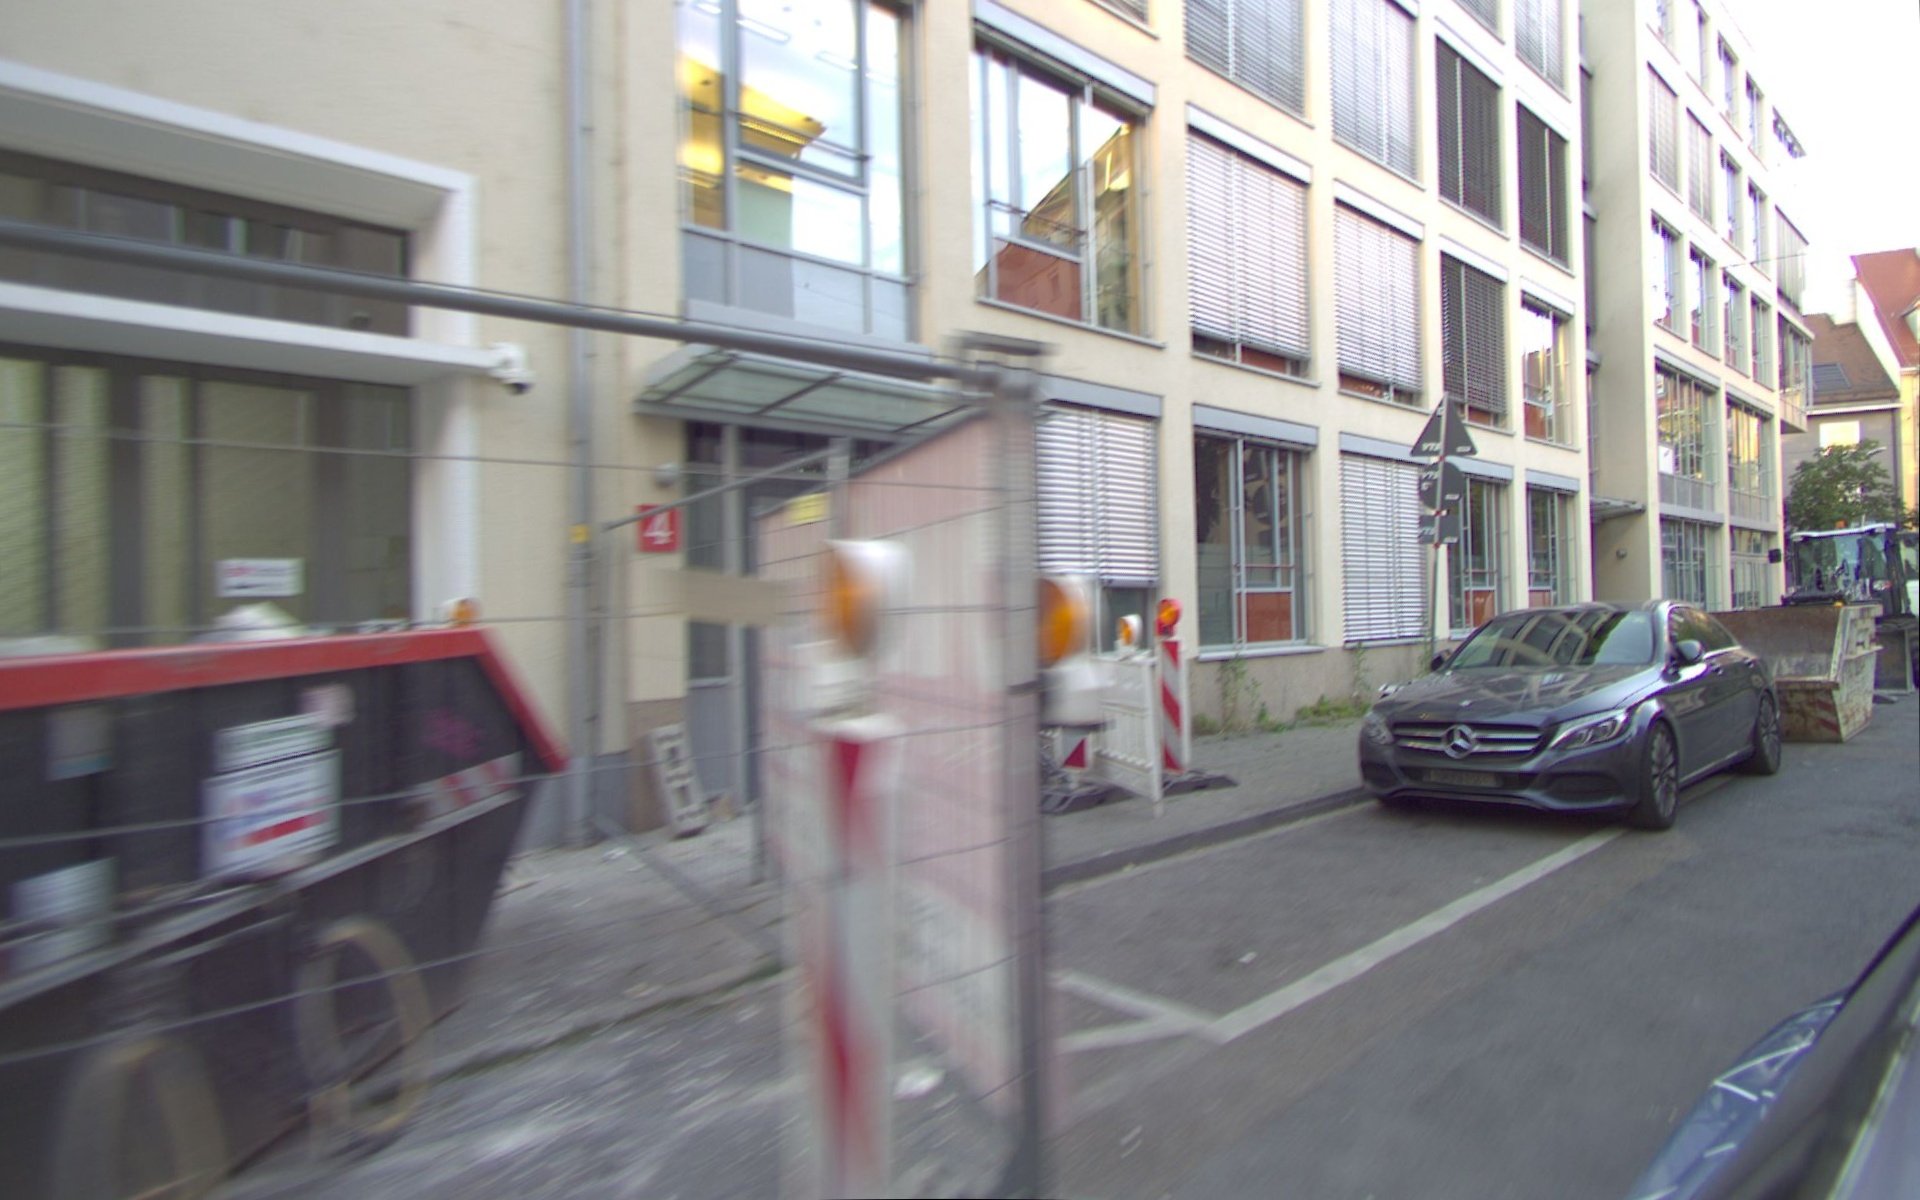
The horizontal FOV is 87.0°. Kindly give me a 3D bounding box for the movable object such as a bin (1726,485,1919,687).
[{"bbox_3d":[13.966,-0.226,15.729,5.447,2.629,2.170,-2,0,-41],"label":"movable object such as a bin"}]

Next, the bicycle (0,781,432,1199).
[{"bbox_3d":[-1.789,1.051,2.598,0.389,0.909,1.494,-1,-1,-12],"label":"bicycle"}]

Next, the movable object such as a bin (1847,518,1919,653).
[{"bbox_3d":[20.488,-0.334,21.469,4.037,2.667,1.800,-1,0,-39],"label":"movable object such as a bin"}]

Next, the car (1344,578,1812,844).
[{"bbox_3d":[4.827,0.596,7.616,4.401,1.424,1.696,-1,-1,-41],"label":"car"}]

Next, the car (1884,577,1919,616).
[{"bbox_3d":[41.855,-0.190,43.957,1.729,1.544,3.331,-1,2,28],"label":"car"}]
